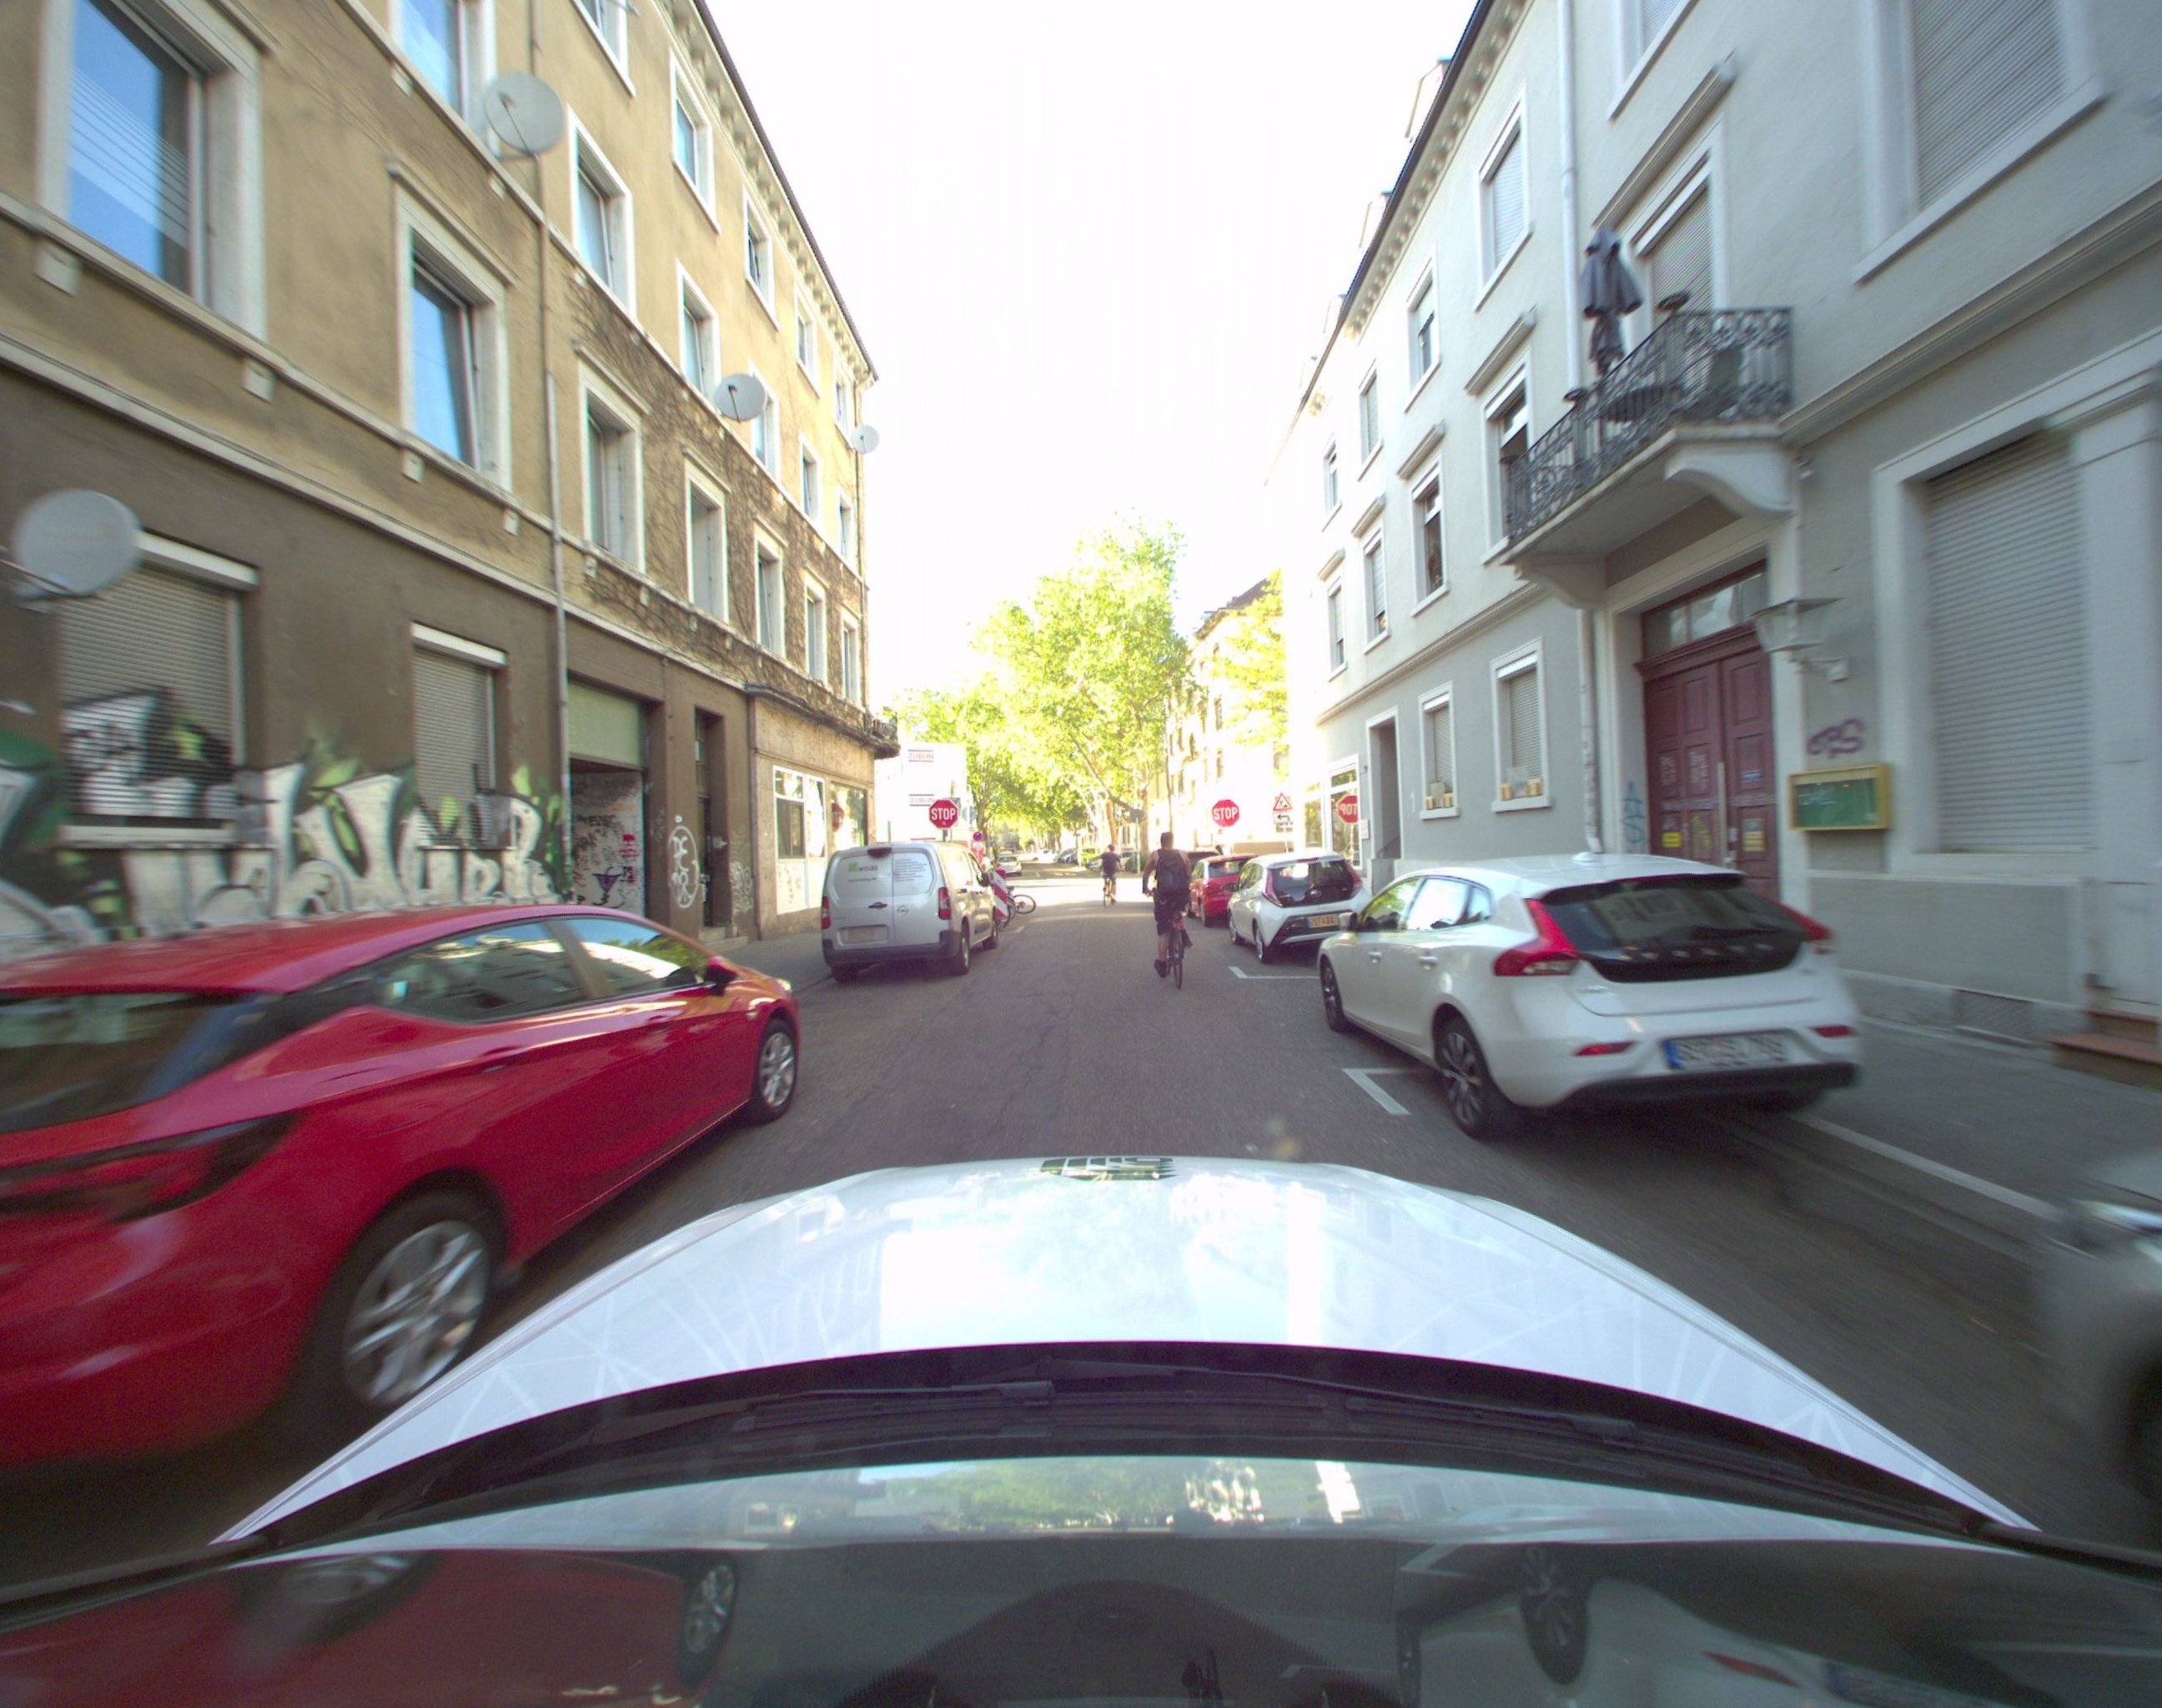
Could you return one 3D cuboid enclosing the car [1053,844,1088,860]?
[{"bbox_3d":[-1.430,-0.276,109.774,4.457,1.898,1.724,-2,0,-7],"label":"car"}]

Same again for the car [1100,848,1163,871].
[{"bbox_3d":[3.780,0.431,61.558,4.457,1.571,1.724,-2,0,-7],"label":"car"}]

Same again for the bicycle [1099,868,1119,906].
[{"bbox_3d":[0.796,0.934,23.503,0.550,1.016,1.628,-1,-1,1],"label":"bicycle"}]

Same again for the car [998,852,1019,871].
[{"bbox_3d":[-6.490,0.664,72.615,1.664,1.562,3.990,-2,0,-7],"label":"car"}]

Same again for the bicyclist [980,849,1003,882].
[{"bbox_3d":[-4.607,0.579,41.886,1.095,1.640,0.894,-2,-1,-5],"label":"bicyclist"}]

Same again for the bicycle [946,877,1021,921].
[{"bbox_3d":[-2.365,1.086,19.866,1.763,0.961,0.427,-2,0,-7],"label":"bicycle"}]

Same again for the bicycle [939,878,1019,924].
[{"bbox_3d":[-2.355,1.083,18.833,1.759,0.961,0.443,-2,0,-1],"label":"bicycle"}]

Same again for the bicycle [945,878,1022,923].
[{"bbox_3d":[-2.332,1.100,19.433,1.765,0.961,0.479,-2,0,-11],"label":"bicycle"}]

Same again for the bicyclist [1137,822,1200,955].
[{"bbox_3d":[1.025,0.397,9.659,0.674,1.513,0.669,0,0,1],"label":"bicyclist"}]

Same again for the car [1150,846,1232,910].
[{"bbox_3d":[3.043,0.624,23.256,1.755,1.662,4.196,0,0,0],"label":"car"}]

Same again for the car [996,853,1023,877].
[{"bbox_3d":[-4.949,0.707,56.290,1.642,1.494,3.990,-4,1,-7],"label":"car"}]

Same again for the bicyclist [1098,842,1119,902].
[{"bbox_3d":[0.785,0.510,23.471,0.540,1.687,0.653,-1,-1,0],"label":"bicyclist"}]

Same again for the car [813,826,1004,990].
[{"bbox_3d":[-2.360,0.670,12.401,1.673,1.910,4.521,-5,0,2],"label":"car"}]

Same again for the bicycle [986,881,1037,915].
[{"bbox_3d":[-1.834,1.160,21.528,1.308,0.818,0.370,-2,0,-9],"label":"bicycle"}]

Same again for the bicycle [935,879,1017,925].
[{"bbox_3d":[-2.357,1.077,18.387,1.759,0.961,0.422,-2,0,-1],"label":"bicycle"}]

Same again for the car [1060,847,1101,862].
[{"bbox_3d":[-0.098,0.063,92.970,4.457,1.571,1.724,-2,0,-7],"label":"car"}]

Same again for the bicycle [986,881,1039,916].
[{"bbox_3d":[-1.780,1.146,21.163,1.308,0.818,0.354,-2,0,-9],"label":"bicycle"}]

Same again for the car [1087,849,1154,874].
[{"bbox_3d":[2.724,0.522,56.602,4.457,1.571,1.724,-2,0,-7],"label":"car"}]

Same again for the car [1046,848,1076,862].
[{"bbox_3d":[-3.092,0.121,125.228,4.457,1.898,1.724,-2,0,-7],"label":"car"}]

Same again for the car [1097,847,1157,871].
[{"bbox_3d":[3.578,0.365,63.632,4.457,1.671,1.724,-2,0,-7],"label":"car"}]

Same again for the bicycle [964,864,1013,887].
[{"bbox_3d":[-4.743,1.085,41.858,2.419,1.093,0.894,-2,-1,-6],"label":"bicycle"}]

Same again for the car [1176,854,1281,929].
[{"bbox_3d":[3.217,0.752,18.453,1.640,1.503,3.954,0,0,0],"label":"car"}]

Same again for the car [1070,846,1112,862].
[{"bbox_3d":[1.057,-0.029,89.877,4.457,1.571,1.724,-2,0,-7],"label":"car"}]

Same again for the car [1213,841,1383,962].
[{"bbox_3d":[3.185,0.623,12.692,1.631,1.587,3.787,0,0,0],"label":"car"}]

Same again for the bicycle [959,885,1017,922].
[{"bbox_3d":[-2.359,1.247,20.693,1.386,0.818,0.360,-4,0,-9],"label":"bicycle"}]

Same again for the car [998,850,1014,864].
[{"bbox_3d":[-8.709,0.336,94.918,1.664,1.562,4.605,-2,0,-7],"label":"car"}]

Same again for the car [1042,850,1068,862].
[{"bbox_3d":[-4.627,0.388,144.558,4.457,1.898,1.724,-2,0,-7],"label":"car"}]

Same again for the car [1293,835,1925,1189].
[{"bbox_3d":[2.824,0.673,5.607,1.673,1.510,4.190,0,0,1],"label":"car"}]

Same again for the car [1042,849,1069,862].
[{"bbox_3d":[-4.245,0.274,135.630,4.457,1.898,1.724,-2,0,-7],"label":"car"}]

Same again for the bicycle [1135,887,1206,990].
[{"bbox_3d":[1.030,0.953,9.733,0.687,1.016,1.908,0,0,2],"label":"bicycle"}]

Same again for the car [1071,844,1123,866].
[{"bbox_3d":[1.446,0.117,74.506,4.458,1.836,1.724,-2,0,-8],"label":"car"}]

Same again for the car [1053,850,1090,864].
[{"bbox_3d":[-1.171,0.314,100.125,4.457,1.571,1.724,-2,0,-7],"label":"car"}]

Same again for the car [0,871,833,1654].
[{"bbox_3d":[-2.677,0.915,3.746,1.674,1.473,4.203,-4,0,0],"label":"car"}]

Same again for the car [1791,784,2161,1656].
[{"bbox_3d":[2.727,0.668,0.182,1.672,1.597,4.194,0,0,4],"label":"car"}]

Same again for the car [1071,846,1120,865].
[{"bbox_3d":[1.354,0.155,76.519,4.457,1.571,1.724,-2,0,-7],"label":"car"}]

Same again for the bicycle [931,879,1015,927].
[{"bbox_3d":[-2.369,1.079,17.971,1.759,0.961,0.405,-2,0,-1],"label":"bicycle"}]
